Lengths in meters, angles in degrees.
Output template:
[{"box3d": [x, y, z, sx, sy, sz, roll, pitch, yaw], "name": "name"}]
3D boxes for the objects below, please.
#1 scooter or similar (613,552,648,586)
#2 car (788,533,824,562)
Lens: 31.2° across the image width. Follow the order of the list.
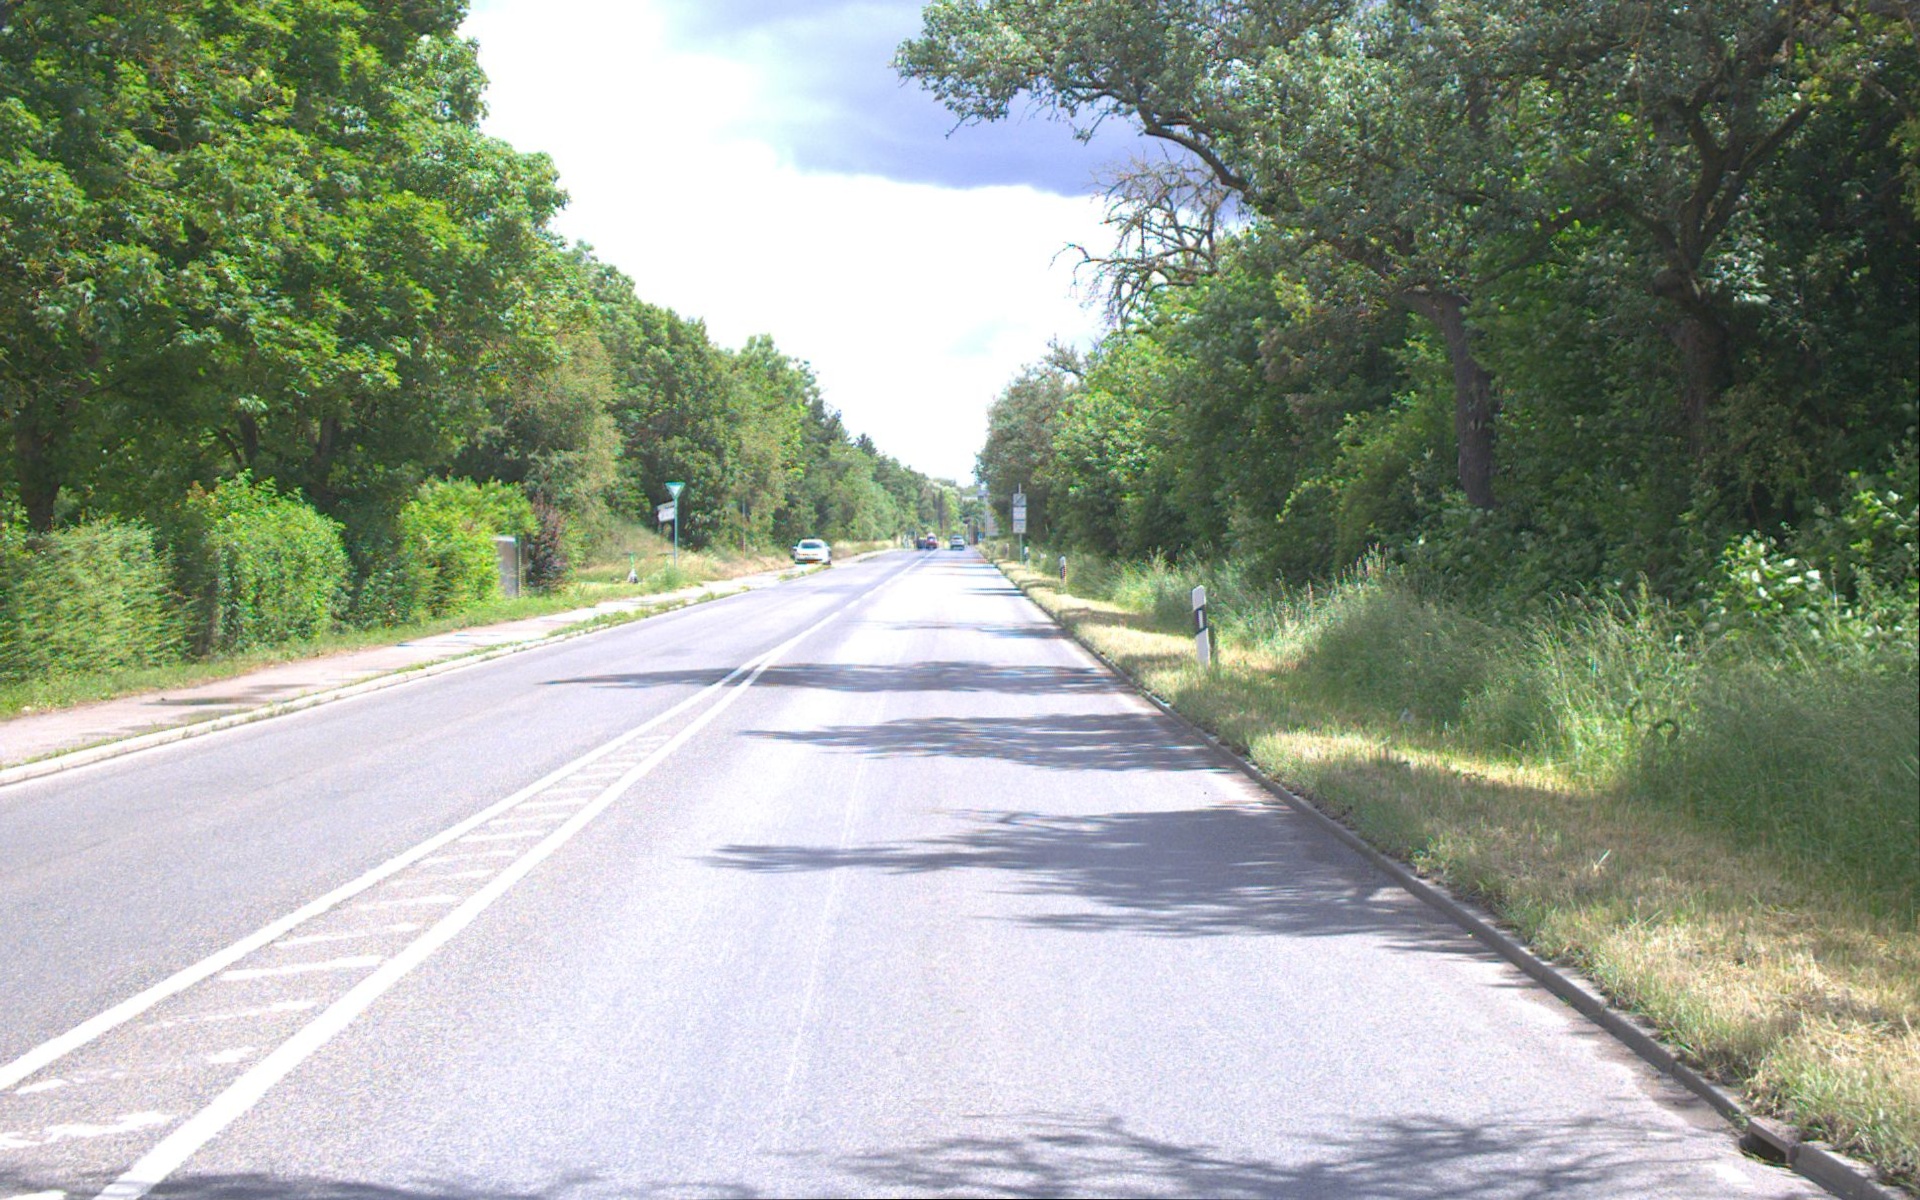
[{"box3d": [-11.362, -1.069, 118.587, 1.350, 1.164, 0.406, 1, 1, 41], "name": "scooter or similar"}, {"box3d": [-8.621, -2.946, 193.107, 1.798, 1.538, 3.955, -1, 0, 0], "name": "car"}]
